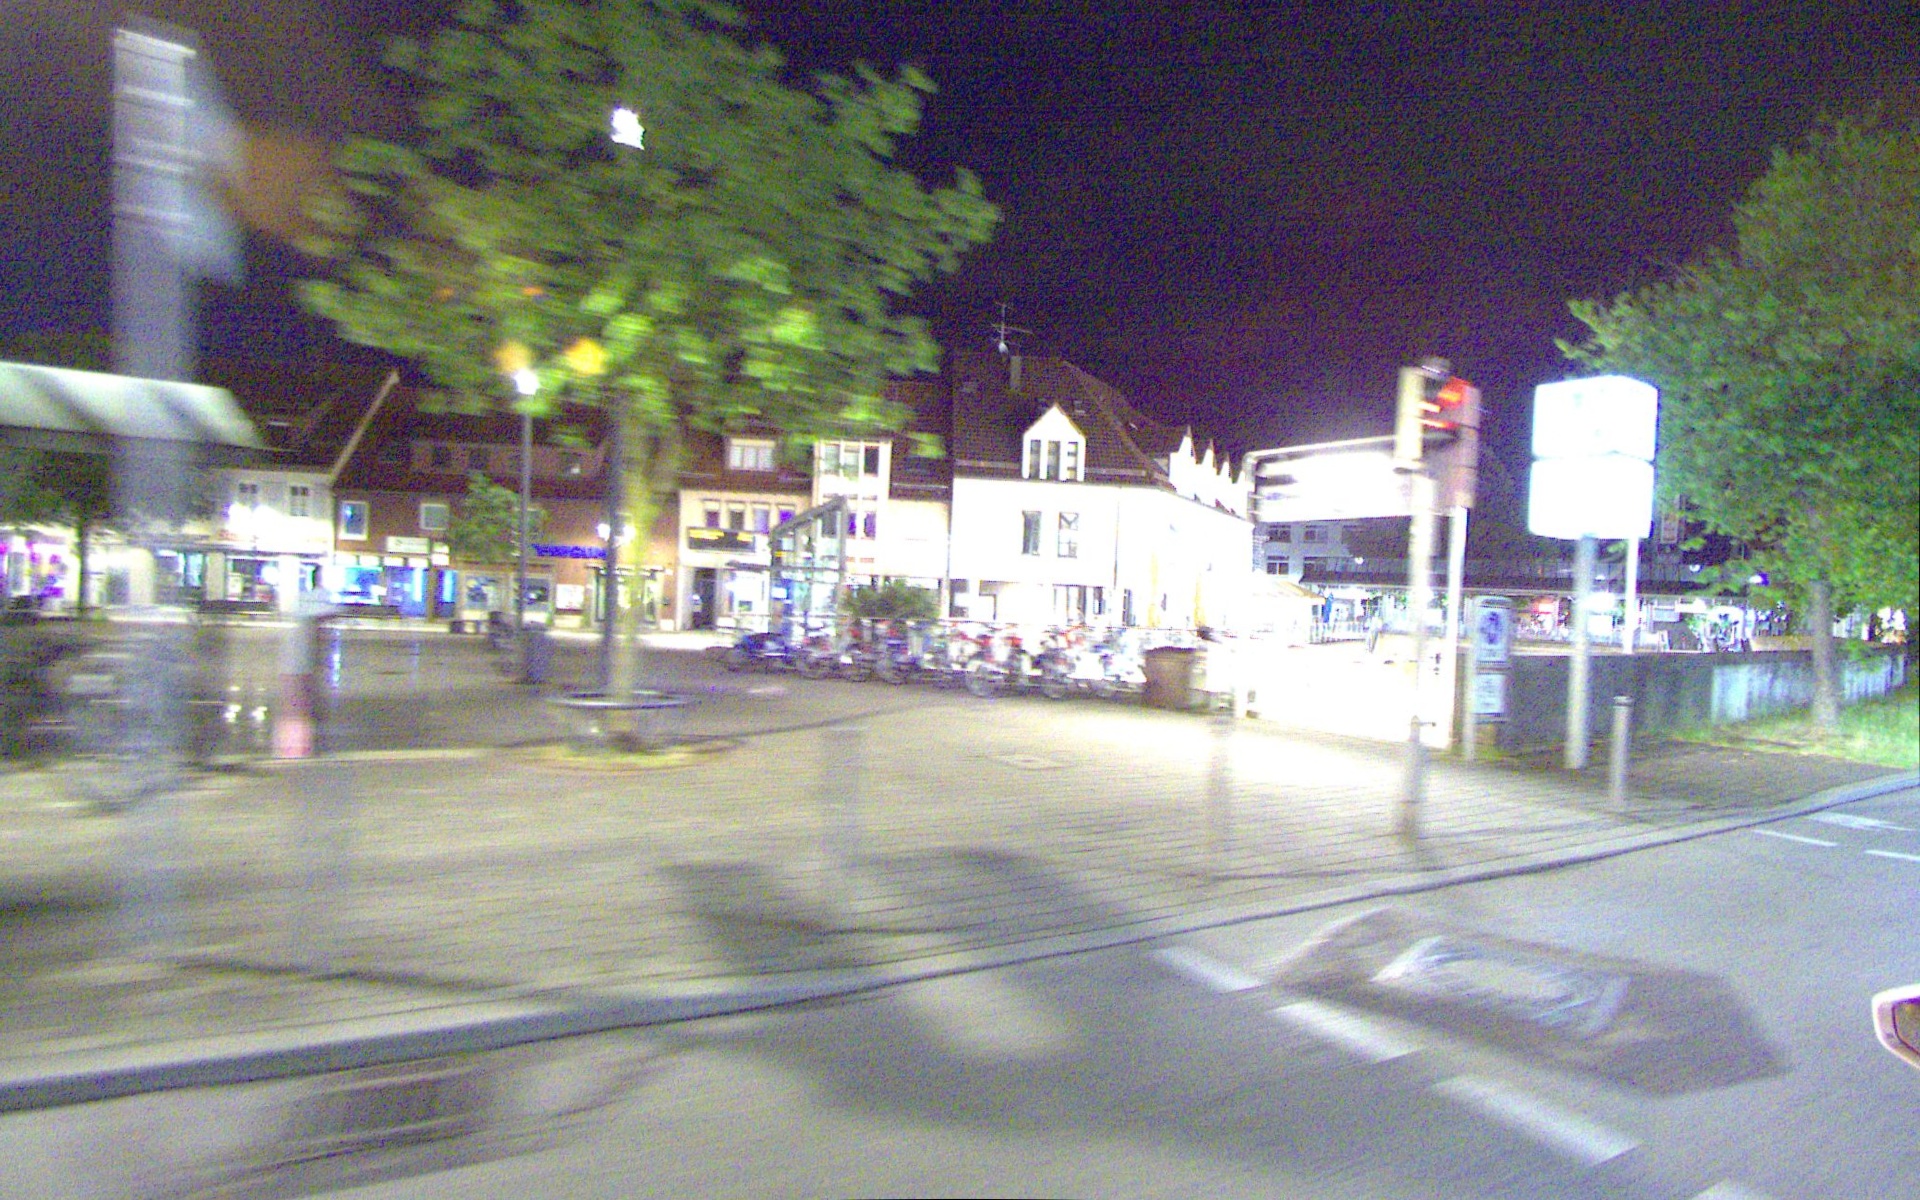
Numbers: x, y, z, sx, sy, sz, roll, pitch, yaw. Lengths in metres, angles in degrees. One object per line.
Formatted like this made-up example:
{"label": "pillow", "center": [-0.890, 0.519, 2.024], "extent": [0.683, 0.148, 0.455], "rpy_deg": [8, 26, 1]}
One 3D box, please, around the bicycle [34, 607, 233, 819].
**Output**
{"label": "bicycle", "center": [-5.167, 0.641, 6.381], "extent": [0.662, 1.120, 1.608], "rpy_deg": [3, 0, -30]}

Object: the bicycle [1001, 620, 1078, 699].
{"label": "bicycle", "center": [1.318, 0.931, 16.346], "extent": [0.598, 1.181, 1.745], "rpy_deg": [1, 0, 27]}

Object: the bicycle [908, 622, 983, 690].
{"label": "bicycle", "center": [-0.225, 0.937, 17.315], "extent": [0.597, 1.084, 1.746], "rpy_deg": [1, 0, 24]}

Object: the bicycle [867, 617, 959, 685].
{"label": "bicycle", "center": [-0.815, 0.878, 17.848], "extent": [0.600, 1.140, 1.738], "rpy_deg": [1, 0, 42]}

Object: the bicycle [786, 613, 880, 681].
{"label": "bicycle", "center": [-2.318, 0.838, 18.501], "extent": [0.600, 1.181, 1.738], "rpy_deg": [1, 0, 42]}

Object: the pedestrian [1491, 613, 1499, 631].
{"label": "pedestrian", "center": [46.721, 1.946, 87.718], "extent": [0.451, 1.566, 0.481], "rpy_deg": [1, 0, -5]}

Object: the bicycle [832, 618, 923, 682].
{"label": "bicycle", "center": [-1.497, 0.892, 18.456], "extent": [0.600, 1.115, 1.738], "rpy_deg": [1, 0, 42]}

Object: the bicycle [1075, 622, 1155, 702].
{"label": "bicycle", "center": [2.514, 0.950, 16.107], "extent": [0.747, 1.177, 1.745], "rpy_deg": [1, 0, 27]}

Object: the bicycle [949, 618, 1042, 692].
{"label": "bicycle", "center": [0.625, 0.904, 17.078], "extent": [0.600, 1.181, 1.737], "rpy_deg": [1, 0, 42]}

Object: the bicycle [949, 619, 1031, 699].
{"label": "bicycle", "center": [0.503, 0.905, 16.084], "extent": [0.598, 1.181, 1.745], "rpy_deg": [1, 0, 27]}

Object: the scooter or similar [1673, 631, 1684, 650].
{"label": "scooter or similar", "center": [50.246, 2.849, 70.213], "extent": [0.423, 1.302, 1.146], "rpy_deg": [1, 0, 25]}

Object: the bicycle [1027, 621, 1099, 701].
{"label": "bicycle", "center": [1.663, 0.939, 15.968], "extent": [0.535, 1.170, 1.745], "rpy_deg": [1, 0, 27]}

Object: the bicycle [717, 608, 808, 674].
{"label": "bicycle", "center": [-3.832, 0.774, 19.607], "extent": [0.600, 1.235, 1.738], "rpy_deg": [1, 0, 42]}
